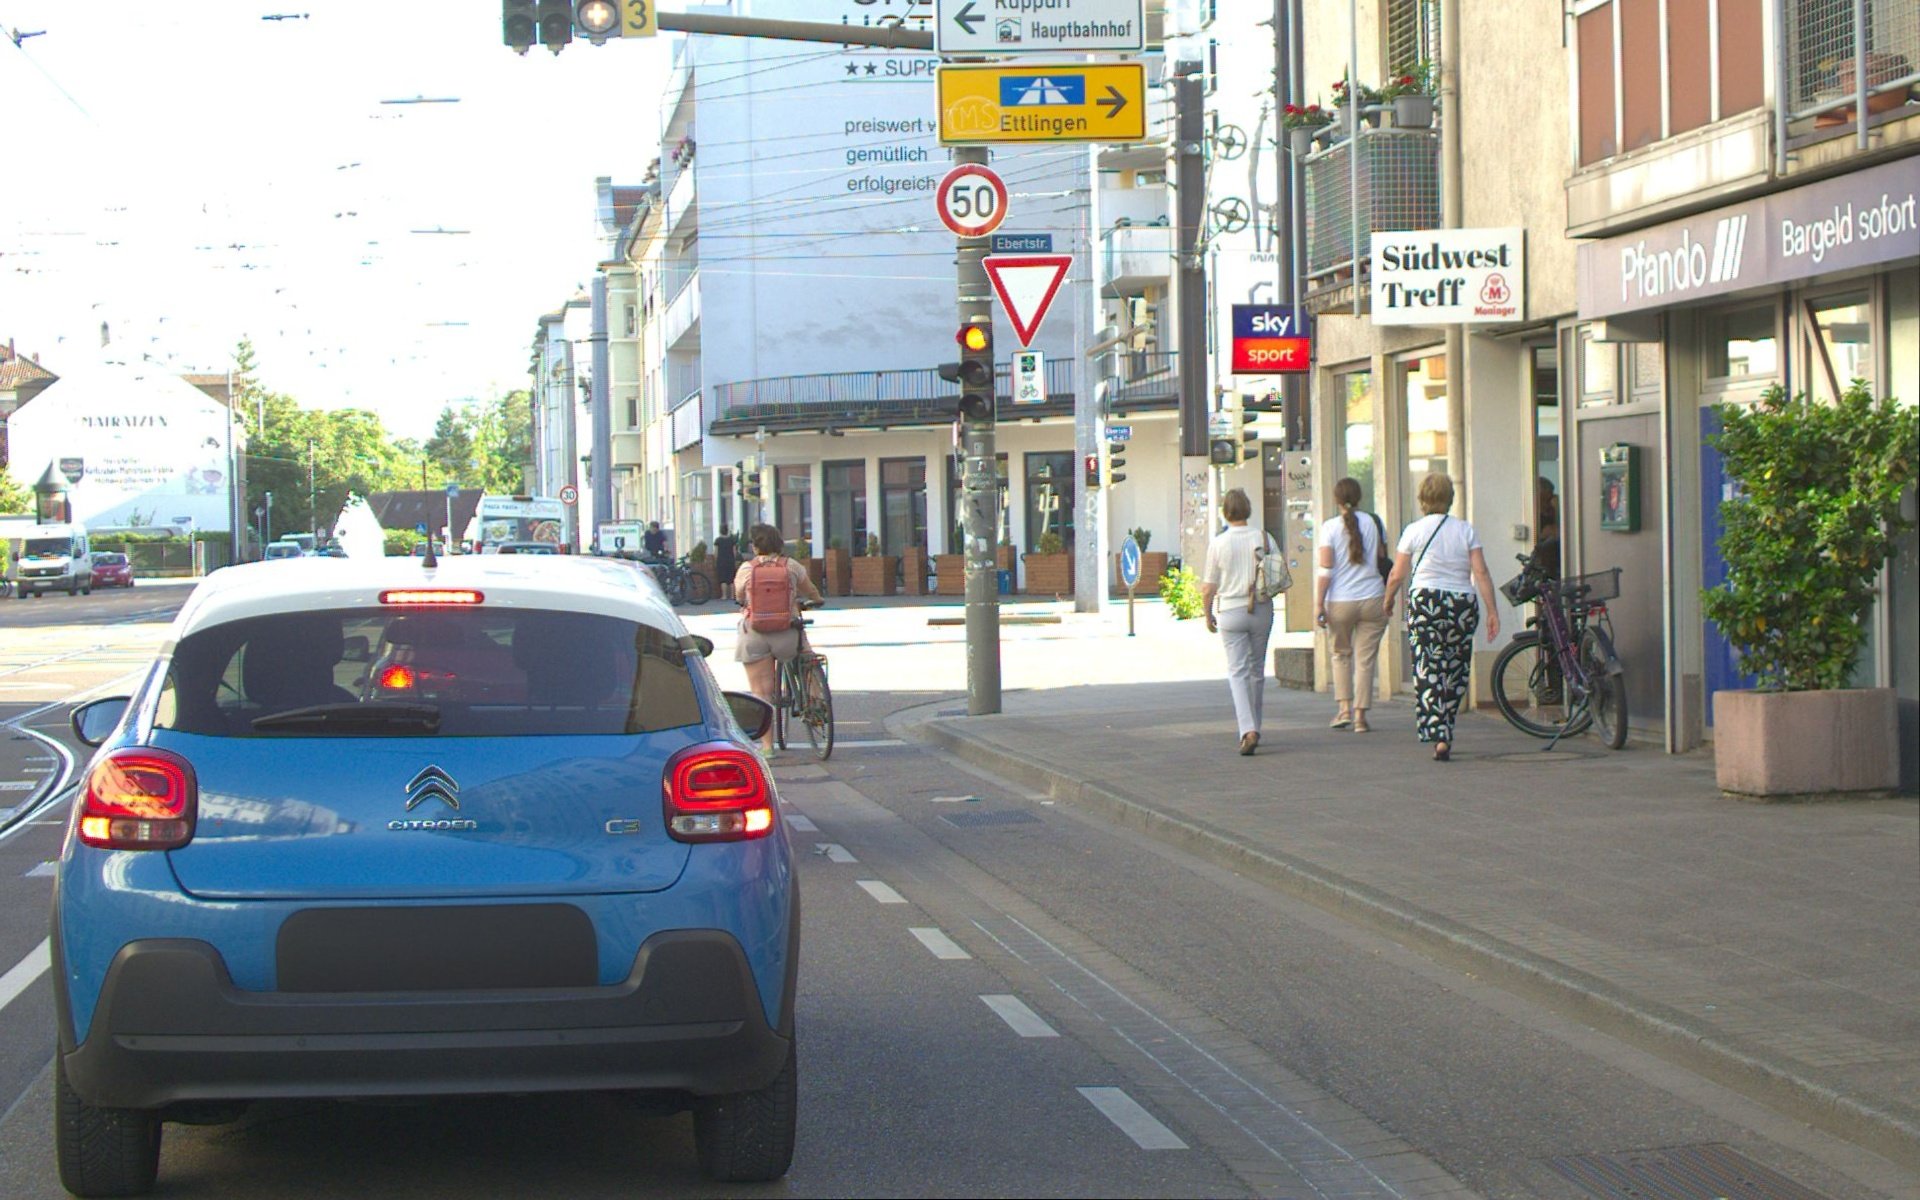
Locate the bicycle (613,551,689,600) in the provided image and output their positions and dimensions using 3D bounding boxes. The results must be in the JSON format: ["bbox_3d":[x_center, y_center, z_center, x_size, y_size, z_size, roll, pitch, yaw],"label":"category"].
[{"bbox_3d":[-6.289,-0.492,69.999,1.503,0.953,0.702,-1,1,-3],"label":"bicycle"}]

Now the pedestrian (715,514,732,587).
[{"bbox_3d":[-5.114,-1.068,74.222,0.284,1.550,0.305,-1,1,-13],"label":"pedestrian"}]

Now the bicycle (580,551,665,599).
[{"bbox_3d":[-7.100,-0.522,72.366,1.720,0.953,0.702,-1,1,-3],"label":"bicycle"}]

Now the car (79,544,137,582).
[{"bbox_3d":[-36.317,-1.589,146.635,2.021,1.520,4.001,-1,1,-8],"label":"car"}]

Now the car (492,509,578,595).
[{"bbox_3d":[-8.843,-0.995,71.350,1.732,1.744,3.214,0,1,-8],"label":"car"}]

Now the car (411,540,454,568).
[{"bbox_3d":[-24.380,-2.128,158.779,1.754,1.255,3.833,-1,1,-11],"label":"car"}]

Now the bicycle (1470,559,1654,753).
[{"bbox_3d":[3.547,0.305,20.380,0.530,1.068,1.811,-1,1,-8],"label":"bicycle"}]

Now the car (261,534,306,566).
[{"bbox_3d":[-33.777,-2.514,171.740,2.021,1.520,4.001,-1,1,-8],"label":"car"}]

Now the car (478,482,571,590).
[{"bbox_3d":[-9.675,-1.410,76.214,1.993,2.317,4.001,0,1,-8],"label":"car"}]

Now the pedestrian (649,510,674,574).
[{"bbox_3d":[-7.275,-1.421,83.841,0.491,1.550,0.648,-1,1,-13],"label":"pedestrian"}]

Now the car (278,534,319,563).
[{"bbox_3d":[-36.423,-2.870,189.292,2.021,1.520,4.001,-1,1,-8],"label":"car"}]

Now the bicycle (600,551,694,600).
[{"bbox_3d":[-6.466,-0.508,71.048,1.873,0.953,0.702,-1,1,-3],"label":"bicycle"}]

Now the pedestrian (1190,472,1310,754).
[{"bbox_3d":[1.769,0.067,21.018,0.541,1.666,0.624,-3,3,-6],"label":"pedestrian"}]

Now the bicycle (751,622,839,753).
[{"bbox_3d":[-1.210,0.617,24.968,0.498,0.861,1.749,-1,1,-7],"label":"bicycle"}]

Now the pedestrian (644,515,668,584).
[{"bbox_3d":[-6.839,-1.142,77.392,0.491,1.550,0.384,-1,1,-7],"label":"pedestrian"}]

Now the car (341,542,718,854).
[{"bbox_3d":[-2.184,0.423,18.158,1.738,1.415,4.001,-1,1,-5],"label":"car"}]

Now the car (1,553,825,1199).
[{"bbox_3d":[-1.515,0.615,9.344,1.743,1.457,4.001,0,1,-10],"label":"car"}]

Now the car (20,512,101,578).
[{"bbox_3d":[-31.812,-1.949,121.658,2.206,2.243,4.678,-1,1,-8],"label":"car"}]

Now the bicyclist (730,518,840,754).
[{"bbox_3d":[-1.255,0.244,24.531,0.726,1.640,0.790,-1,1,-5],"label":"bicyclist"}]

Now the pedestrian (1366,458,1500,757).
[{"bbox_3d":[2.717,0.033,19.799,0.541,1.666,0.650,-3,1,-6],"label":"pedestrian"}]

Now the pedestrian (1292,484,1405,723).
[{"bbox_3d":[2.524,0.013,22.368,0.541,1.502,0.611,-3,3,-6],"label":"pedestrian"}]
